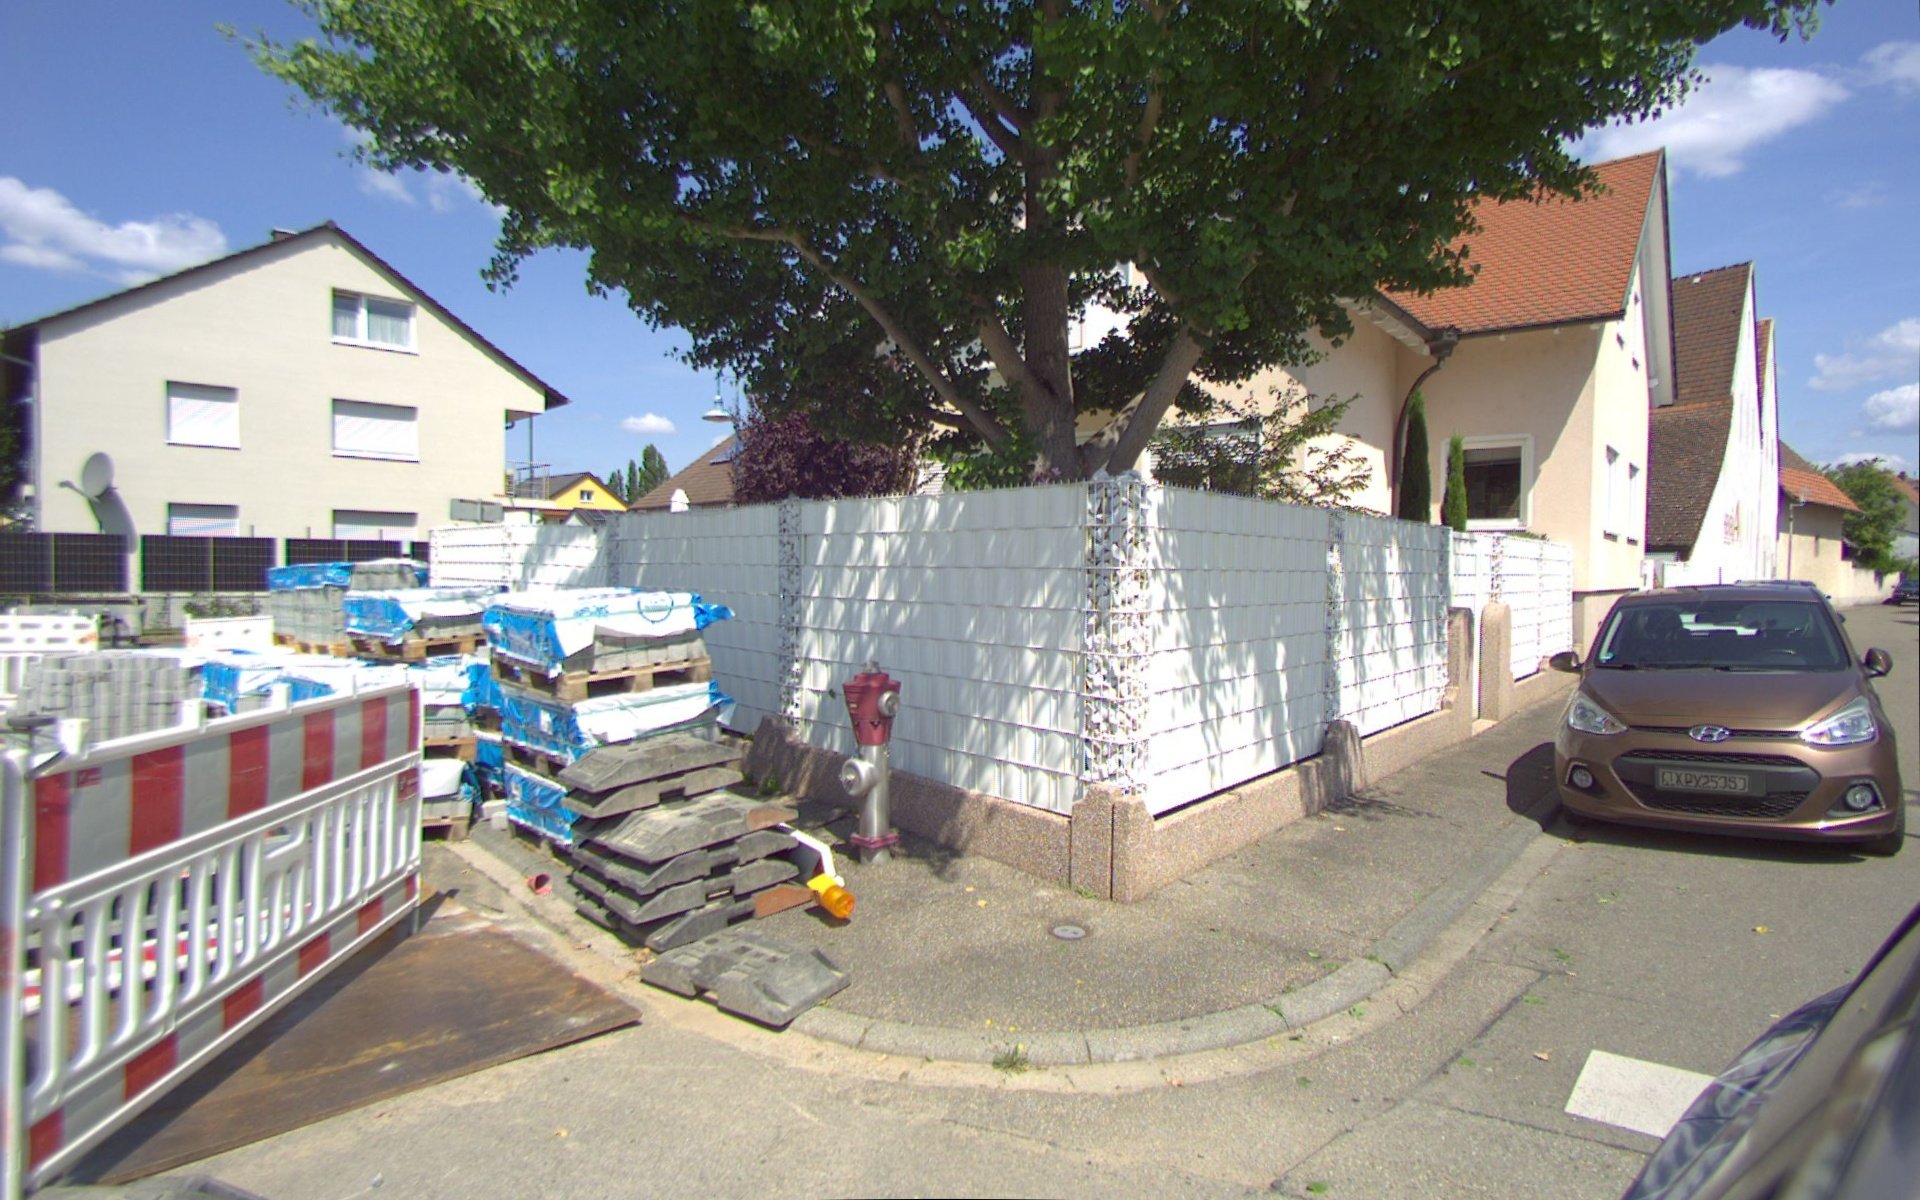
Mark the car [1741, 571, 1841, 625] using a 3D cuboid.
[{"bbox_3d":[23.737,-0.110,28.848,1.896,1.382,4.346,2,3,43],"label":"car"}]

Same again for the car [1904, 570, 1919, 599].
[{"bbox_3d":[51.486,-0.824,53.743,3.935,1.497,1.782,-2,3,-44],"label":"car"}]

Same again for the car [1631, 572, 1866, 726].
[{"bbox_3d":[9.501,0.409,12.237,1.893,1.446,4.671,1,2,39],"label":"car"}]

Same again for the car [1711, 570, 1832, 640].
[{"bbox_3d":[18.402,0.039,22.879,1.894,1.382,4.667,2,3,42],"label":"car"}]

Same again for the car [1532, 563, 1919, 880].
[{"bbox_3d":[5.334,0.568,7.027,1.709,1.552,3.979,-3,0,39],"label":"car"}]
